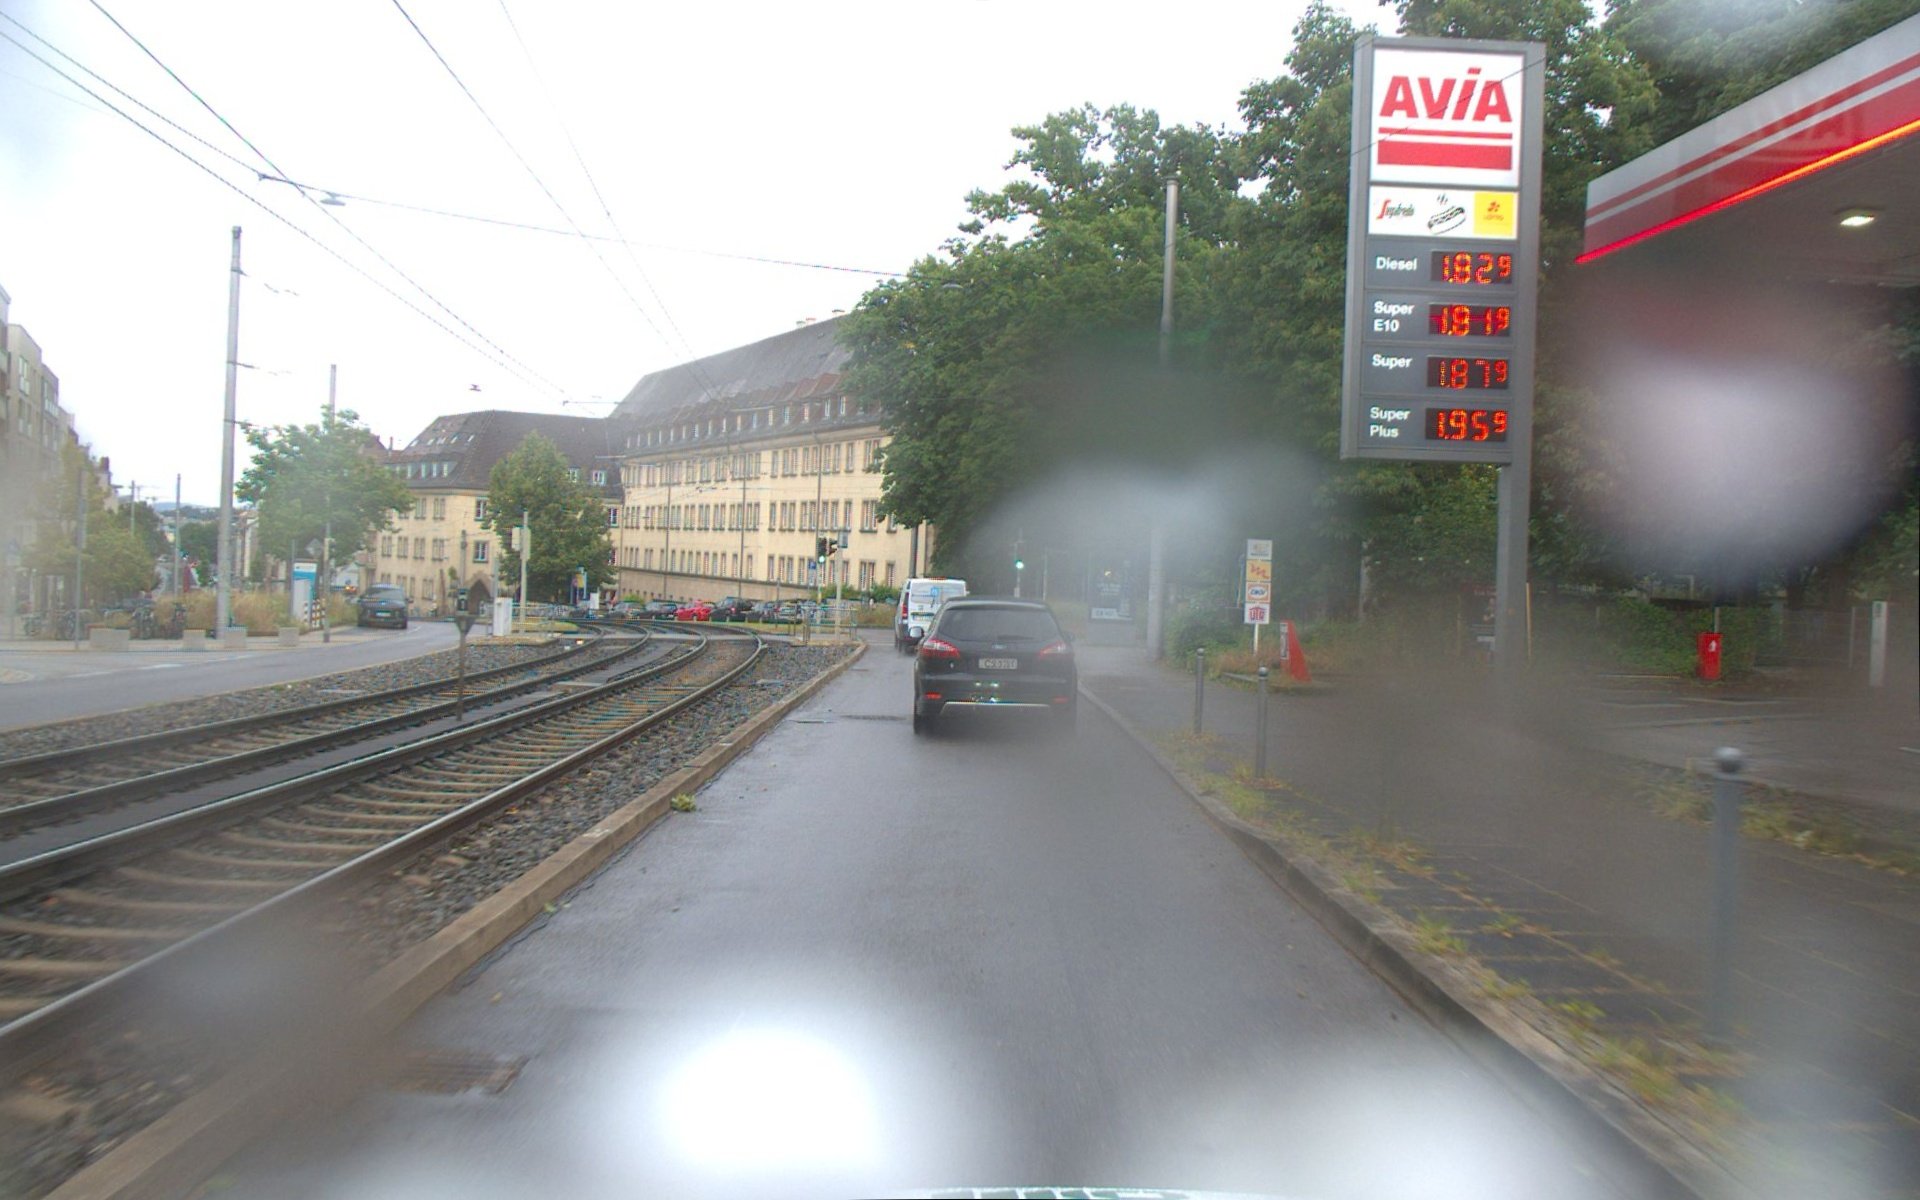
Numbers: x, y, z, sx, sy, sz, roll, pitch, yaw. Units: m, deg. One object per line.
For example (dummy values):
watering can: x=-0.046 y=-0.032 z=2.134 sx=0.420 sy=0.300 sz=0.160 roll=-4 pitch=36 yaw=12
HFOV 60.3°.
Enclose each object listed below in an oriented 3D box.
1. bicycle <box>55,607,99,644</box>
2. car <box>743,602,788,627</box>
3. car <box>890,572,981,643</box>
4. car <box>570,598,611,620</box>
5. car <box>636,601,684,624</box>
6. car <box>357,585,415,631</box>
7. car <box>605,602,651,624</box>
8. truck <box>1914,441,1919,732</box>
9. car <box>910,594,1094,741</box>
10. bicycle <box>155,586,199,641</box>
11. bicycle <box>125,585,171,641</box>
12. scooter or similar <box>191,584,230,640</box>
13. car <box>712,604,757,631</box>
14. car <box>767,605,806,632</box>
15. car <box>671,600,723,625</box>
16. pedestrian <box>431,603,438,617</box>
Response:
bicycle: x=-26.175 y=0.752 z=49.060 sx=0.466 sy=1.066 sz=2.225 roll=0 pitch=0 yaw=-10
car: x=-11.476 y=0.861 z=97.564 sx=1.518 sy=1.441 sz=3.611 roll=0 pitch=0 yaw=-27
car: x=-0.696 y=0.189 z=43.355 sx=2.095 sy=1.776 sz=4.214 roll=0 pitch=0 yaw=-5
car: x=-27.077 y=0.643 z=121.164 sx=1.650 sy=1.551 sz=4.061 roll=0 pitch=0 yaw=-33
car: x=-20.248 y=0.865 z=111.494 sx=1.650 sy=1.502 sz=4.406 roll=0 pitch=0 yaw=-33
car: x=-22.491 y=0.333 z=64.869 sx=1.964 sy=1.633 sz=4.192 roll=4 pitch=-2 yaw=-19
car: x=-23.325 y=0.897 z=116.258 sx=1.652 sy=1.502 sz=4.056 roll=0 pitch=0 yaw=-36
truck: x=13.107 y=-0.150 z=16.915 sx=2.773 sy=3.459 sz=6.118 roll=0 pitch=0 yaw=-6
car: x=0.401 y=0.696 z=18.989 sx=1.881 sy=1.505 sz=3.999 roll=0 pitch=0 yaw=-1
bicycle: x=-23.389 y=0.402 z=49.441 sx=0.663 sy=1.624 sz=2.353 roll=1 pitch=-1 yaw=-13
bicycle: x=-24.174 y=0.373 z=49.277 sx=0.663 sy=1.624 sz=2.353 roll=1 pitch=-1 yaw=-13
scooter or similar: x=-22.501 y=0.355 z=49.679 sx=0.589 sy=1.624 sz=2.353 roll=1 pitch=-1 yaw=-13
car: x=-13.988 y=1.073 z=102.521 sx=1.646 sy=1.600 sz=3.821 roll=0 pitch=0 yaw=-27
car: x=-9.840 y=1.023 z=93.840 sx=1.575 sy=1.491 sz=2.704 roll=0 pitch=0 yaw=-21
car: x=-17.025 y=0.812 z=107.037 sx=1.653 sy=1.502 sz=4.012 roll=2 pitch=-2 yaw=-37
pedestrian: x=-49.772 y=0.965 z=156.628 sx=0.500 sy=1.338 sz=0.504 roll=1 pitch=-1 yaw=-37
